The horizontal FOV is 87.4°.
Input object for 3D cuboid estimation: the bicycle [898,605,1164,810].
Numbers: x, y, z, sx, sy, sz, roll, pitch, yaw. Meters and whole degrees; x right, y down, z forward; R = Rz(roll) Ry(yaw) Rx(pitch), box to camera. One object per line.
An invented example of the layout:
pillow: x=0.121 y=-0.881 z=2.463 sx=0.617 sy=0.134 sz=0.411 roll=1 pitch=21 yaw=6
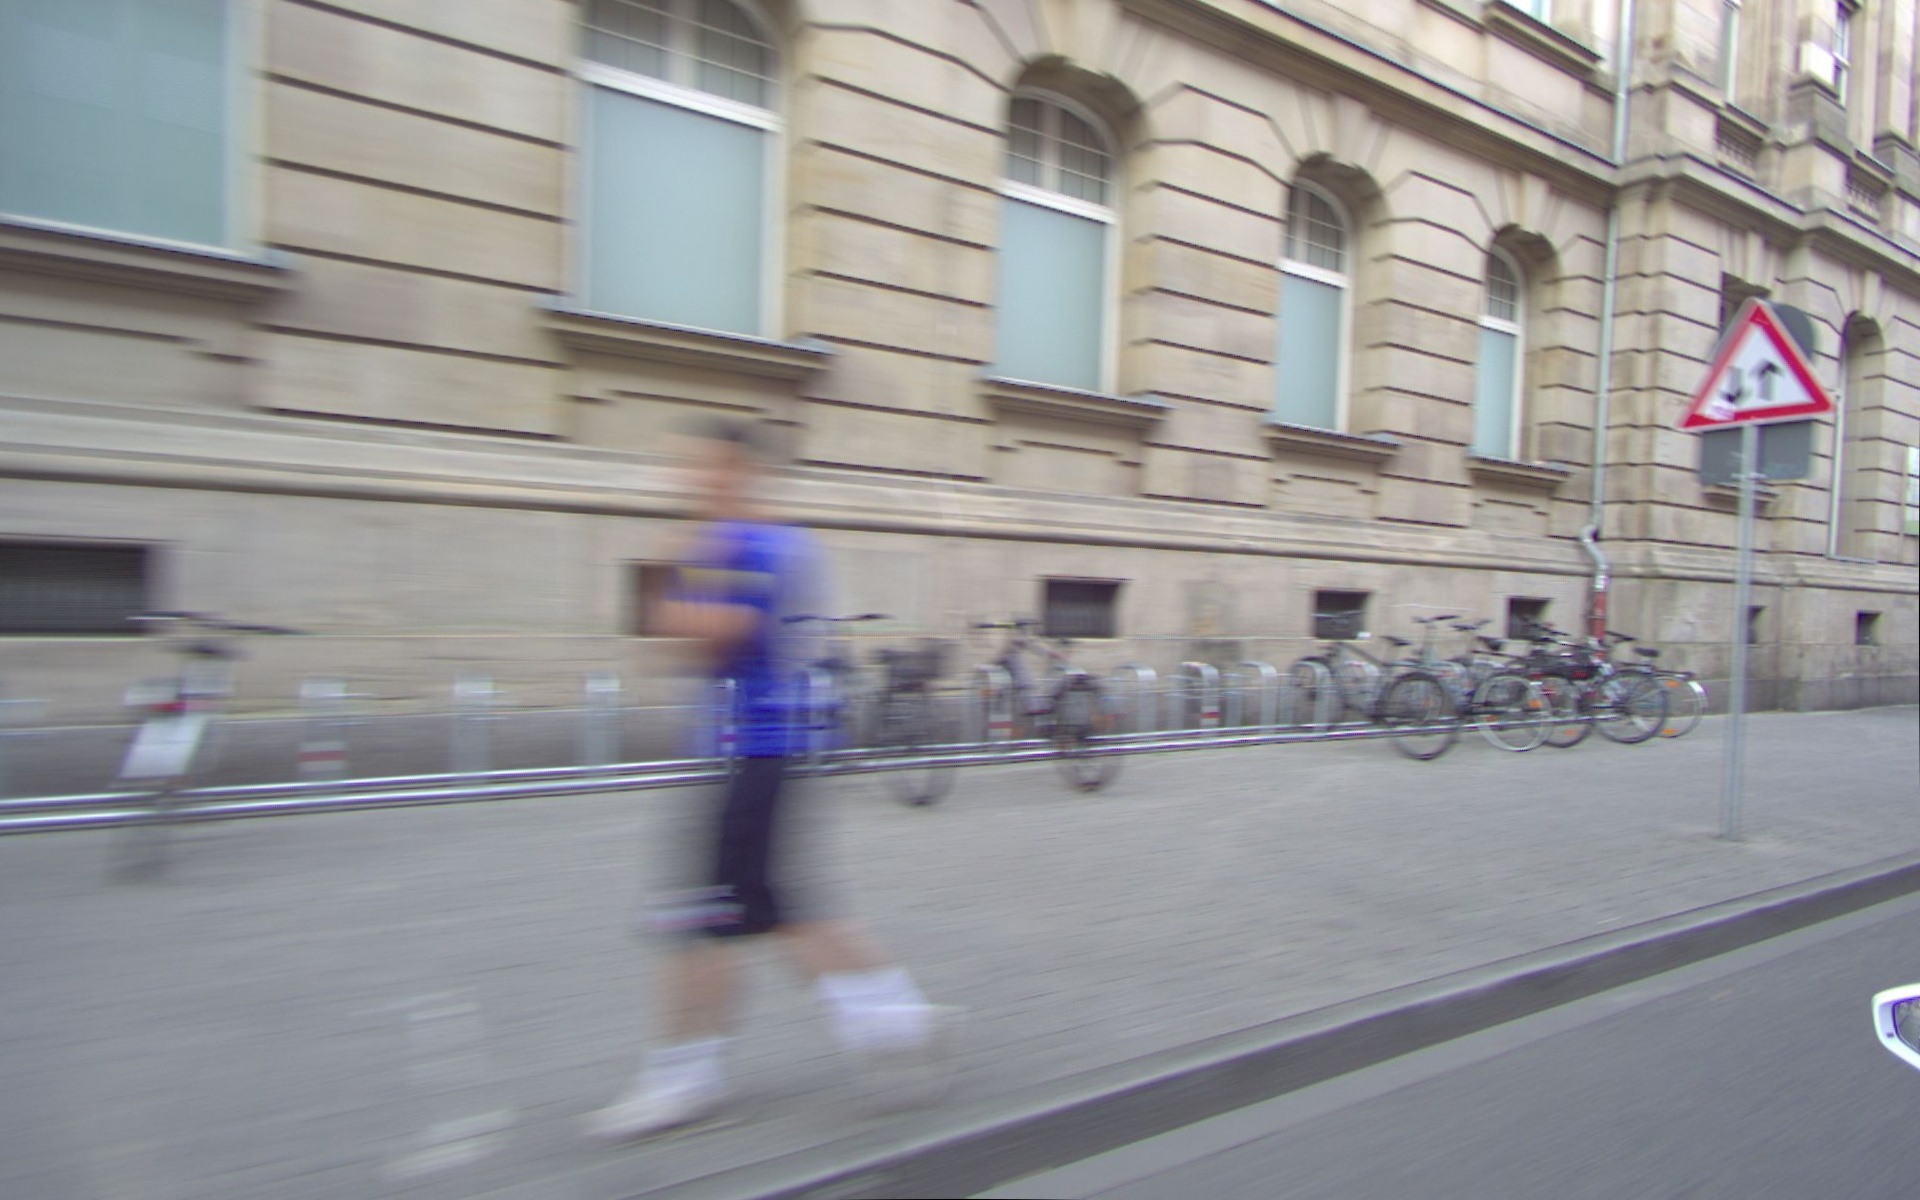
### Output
bicycle: x=0.412 y=0.654 z=6.953 sx=0.723 sy=1.093 sz=1.923 roll=2 pitch=3 yaw=-36

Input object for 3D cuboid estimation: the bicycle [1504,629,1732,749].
bicycle: x=7.107 y=0.910 z=10.960 sx=0.714 sy=1.060 sz=1.923 roll=1 pitch=2 yaw=-34

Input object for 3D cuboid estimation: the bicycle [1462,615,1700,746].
bicycle: x=6.367 y=0.783 z=10.427 sx=0.739 sy=1.093 sz=1.927 roll=2 pitch=2 yaw=-30

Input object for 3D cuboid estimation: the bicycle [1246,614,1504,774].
bicycle: x=3.528 y=0.742 z=8.716 sx=0.723 sy=1.093 sz=1.923 roll=2 pitch=3 yaw=-36

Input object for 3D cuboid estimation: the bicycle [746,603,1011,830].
bicycle: x=-0.591 y=0.635 z=6.340 sx=0.723 sy=1.093 sz=1.923 roll=2 pitch=3 yaw=-36

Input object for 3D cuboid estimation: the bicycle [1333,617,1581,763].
bicycle: x=4.604 y=0.780 z=9.454 sx=0.723 sy=1.093 sz=1.923 roll=2 pitch=3 yaw=-36

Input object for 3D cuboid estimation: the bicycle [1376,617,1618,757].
bicycle: x=5.226 y=0.796 z=9.904 sx=0.723 sy=1.093 sz=1.923 roll=2 pitch=3 yaw=-36

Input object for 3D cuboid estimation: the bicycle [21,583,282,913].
bicycle: x=-3.566 y=0.529 z=4.589 sx=0.722 sy=1.093 sz=1.925 roll=2 pitch=3 yaw=-33

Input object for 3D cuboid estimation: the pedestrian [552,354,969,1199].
pedestrian: x=-0.433 y=0.384 z=2.539 sx=0.804 sy=1.812 sz=0.779 roll=1 pitch=0 yaw=6
